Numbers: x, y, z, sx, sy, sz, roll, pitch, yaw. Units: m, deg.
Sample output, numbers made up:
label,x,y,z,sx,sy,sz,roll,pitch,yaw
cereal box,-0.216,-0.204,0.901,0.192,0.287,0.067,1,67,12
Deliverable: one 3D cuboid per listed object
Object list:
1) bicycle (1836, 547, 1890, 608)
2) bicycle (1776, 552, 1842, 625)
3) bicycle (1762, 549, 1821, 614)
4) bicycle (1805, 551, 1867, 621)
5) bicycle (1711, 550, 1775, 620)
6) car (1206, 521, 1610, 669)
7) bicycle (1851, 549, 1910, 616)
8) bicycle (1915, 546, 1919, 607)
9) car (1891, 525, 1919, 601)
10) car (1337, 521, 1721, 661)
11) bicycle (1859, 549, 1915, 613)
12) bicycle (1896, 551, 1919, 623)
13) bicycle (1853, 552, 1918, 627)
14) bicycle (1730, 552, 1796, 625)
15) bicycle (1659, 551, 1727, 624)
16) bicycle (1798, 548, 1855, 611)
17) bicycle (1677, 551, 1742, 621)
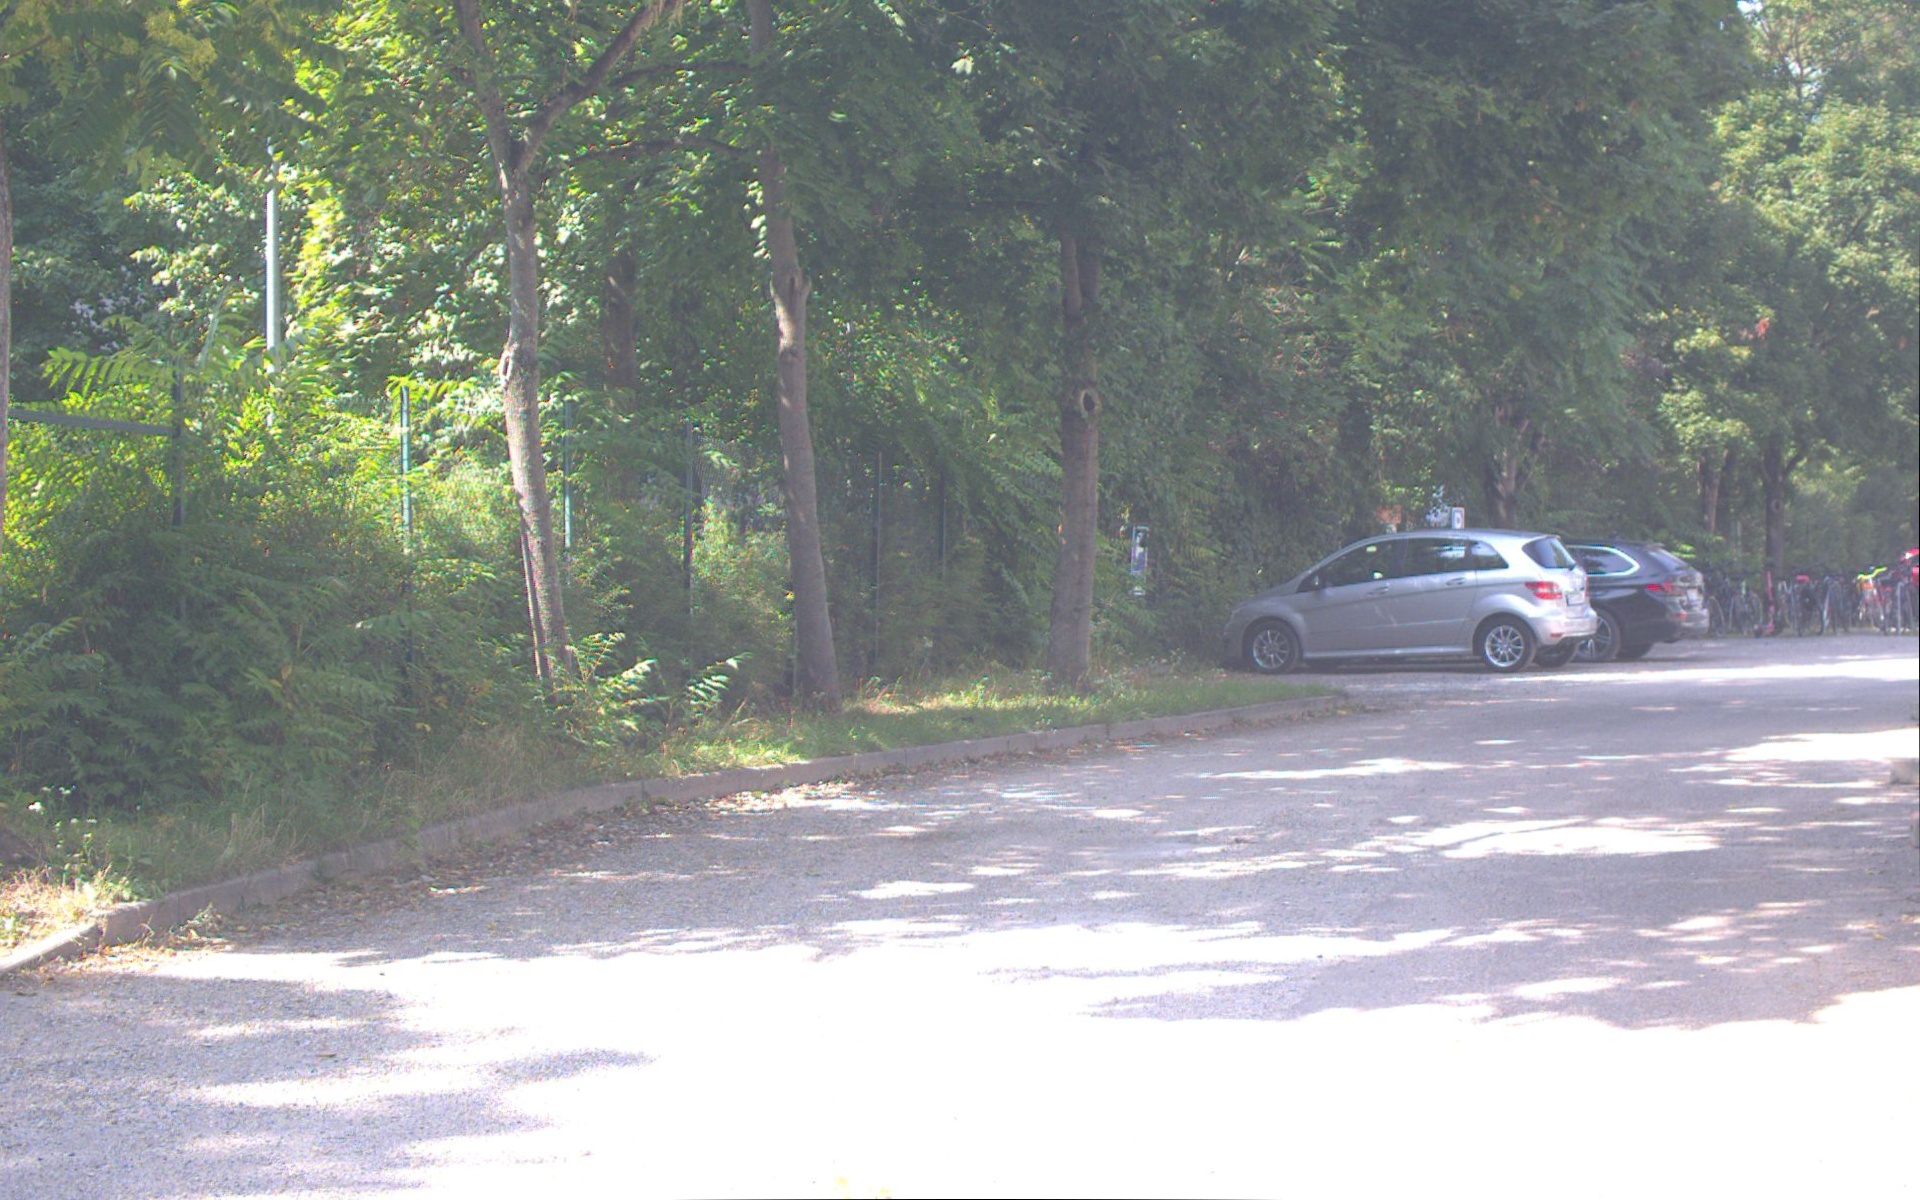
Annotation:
label,x,y,z,sx,sy,sz,roll,pitch,yaw
bicycle,16.651,-0.420,63.359,0.499,1.104,1.797,1,1,30
bicycle,13.132,-0.188,53.147,0.499,1.104,1.797,1,1,30
bicycle,14.351,-0.330,59.308,0.499,1.104,1.797,1,1,30
bicycle,14.165,-0.234,55.576,0.499,1.104,1.797,1,1,30
bicycle,12.723,-0.246,55.834,0.499,1.104,1.797,1,1,30
car,5.114,-0.094,39.234,4.153,1.607,1.997,1,1,27
bicycle,15.585,-0.303,58.203,0.499,1.104,1.797,1,1,30
bicycle,18.019,-0.447,63.136,0.499,1.104,1.797,1,1,30
car,20.626,-0.738,68.108,3.992,1.505,1.798,0,1,24
car,6.824,-0.144,41.251,4.153,1.607,1.997,1,1,27
bicycle,16.240,-0.341,60.212,0.499,1.104,1.797,1,1,30
bicycle,15.307,-0.216,54.431,0.499,1.104,1.797,1,1,30
bicycle,14.031,-0.165,52.102,0.499,1.104,1.797,1,1,30
bicycle,12.579,-0.192,53.815,0.499,1.104,1.797,1,1,30
bicycle,11.528,-0.204,54.048,0.499,1.104,1.797,1,1,30
bicycle,15.402,-0.371,61.107,0.499,1.104,1.797,1,1,30
bicycle,12.230,-0.237,56.060,0.499,1.104,1.797,1,1,30
